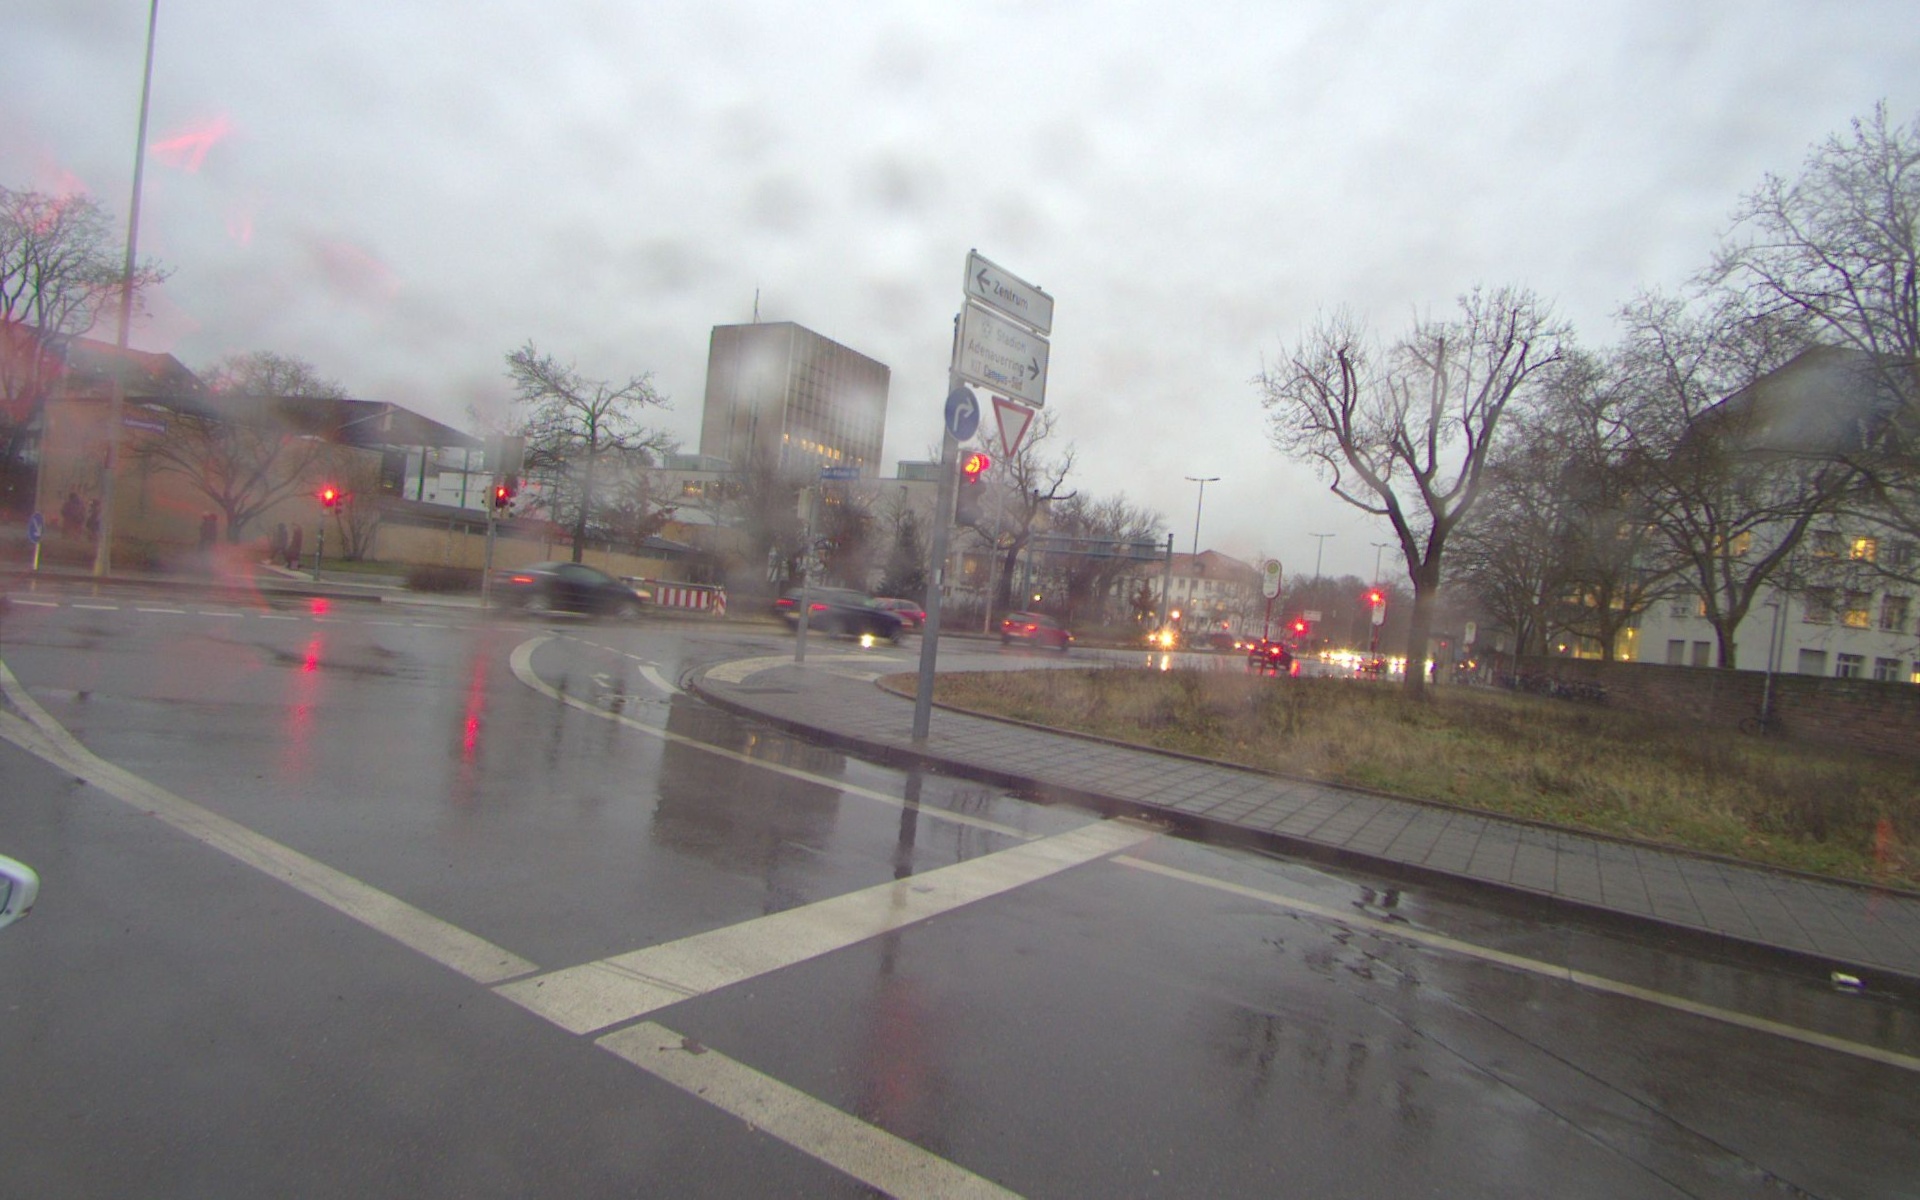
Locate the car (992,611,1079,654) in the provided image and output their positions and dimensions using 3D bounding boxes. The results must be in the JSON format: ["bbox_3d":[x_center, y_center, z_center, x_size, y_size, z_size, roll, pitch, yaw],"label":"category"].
[{"bbox_3d":[3.356,1.443,43.863,1.812,1.602,4.124,6,0,35],"label":"car"}]

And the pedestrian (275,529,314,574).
[{"bbox_3d":[-24.995,-1.824,37.787,0.921,1.553,1.029,5,2,-45],"label":"pedestrian"}]

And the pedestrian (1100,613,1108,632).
[{"bbox_3d":[13.348,2.122,93.406,0.411,1.725,0.430,8,3,44],"label":"pedestrian"}]

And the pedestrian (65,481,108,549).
[{"bbox_3d":[-29.260,-2.845,33.682,0.874,2.141,0.890,8,2,44],"label":"pedestrian"}]

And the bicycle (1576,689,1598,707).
[{"bbox_3d":[30.548,4.767,49.001,0.387,0.795,1.533,7,-2,14],"label":"bicycle"}]

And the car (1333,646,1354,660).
[{"bbox_3d":[53.427,7.389,140.176,1.966,1.783,3.992,7,1,29],"label":"car"}]

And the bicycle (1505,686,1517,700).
[{"bbox_3d":[34.849,5.864,63.627,0.387,0.795,1.532,7,-2,20],"label":"bicycle"}]

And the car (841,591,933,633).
[{"bbox_3d":[-3.159,0.575,44.321,1.781,1.496,4.418,6,0,30],"label":"car"}]

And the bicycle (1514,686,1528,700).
[{"bbox_3d":[33.828,5.612,60.665,0.387,0.795,1.532,7,-2,20],"label":"bicycle"}]

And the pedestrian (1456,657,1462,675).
[{"bbox_3d":[50.266,6.639,101.414,0.313,1.816,0.461,7,2,32],"label":"pedestrian"}]

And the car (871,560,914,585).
[{"bbox_3d":[-7.117,-2.915,106.437,2.014,2.102,4.892,6,0,30],"label":"car"}]

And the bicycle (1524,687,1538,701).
[{"bbox_3d":[32.840,5.402,57.867,0.387,0.795,1.532,7,-2,19],"label":"bicycle"}]

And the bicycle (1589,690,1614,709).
[{"bbox_3d":[30.274,4.671,47.477,0.352,0.795,1.415,7,-2,8],"label":"bicycle"}]

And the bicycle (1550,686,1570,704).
[{"bbox_3d":[31.355,4.978,52.557,0.387,0.868,1.532,7,-2,15],"label":"bicycle"}]

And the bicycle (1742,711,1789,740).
[{"bbox_3d":[28.201,4.398,35.227,0.387,0.834,1.386,7,-2,-4],"label":"bicycle"}]

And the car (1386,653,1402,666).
[{"bbox_3d":[70.262,9.637,162.714,1.965,1.783,3.993,7,1,27],"label":"car"}]

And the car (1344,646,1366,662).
[{"bbox_3d":[51.644,7.066,131.493,1.966,1.783,3.992,7,1,29],"label":"car"}]

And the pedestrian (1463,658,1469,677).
[{"bbox_3d":[50.628,6.746,100.621,0.313,1.816,0.461,7,2,32],"label":"pedestrian"}]

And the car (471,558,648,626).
[{"bbox_3d":[-10.012,-0.175,25.358,1.677,1.318,3.750,6,0,39],"label":"car"}]

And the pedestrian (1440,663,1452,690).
[{"bbox_3d":[30.151,4.731,62.419,0.462,1.623,0.486,7,-1,25],"label":"pedestrian"}]

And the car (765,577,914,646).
[{"bbox_3d":[-3.395,0.362,28.978,1.814,1.602,4.121,6,0,37],"label":"car"}]

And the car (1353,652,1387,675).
[{"bbox_3d":[34.306,5.289,84.078,1.811,1.710,4.311,6,0,32],"label":"car"}]

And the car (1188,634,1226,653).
[{"bbox_3d":[30.231,5.363,122.974,3.936,1.784,1.994,7,1,34],"label":"car"}]

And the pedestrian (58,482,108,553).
[{"bbox_3d":[-28.561,-2.681,32.770,0.871,2.141,0.893,7,2,32],"label":"pedestrian"}]

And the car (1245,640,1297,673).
[{"bbox_3d":[19.247,3.508,62.168,1.811,1.710,4.313,6,-1,33],"label":"car"}]

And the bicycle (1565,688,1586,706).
[{"bbox_3d":[31.037,4.874,50.746,0.343,0.848,1.493,7,-2,13],"label":"bicycle"}]

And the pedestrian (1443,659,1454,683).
[{"bbox_3d":[42.098,6.131,86.720,0.557,2.040,0.595,8,2,33],"label":"pedestrian"}]

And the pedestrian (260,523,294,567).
[{"bbox_3d":[-25.986,-2.089,38.277,0.889,1.553,0.875,5,2,-41],"label":"pedestrian"}]

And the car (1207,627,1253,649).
[{"bbox_3d":[30.064,4.241,112.097,2.020,1.903,5.309,6,0,-23],"label":"car"}]

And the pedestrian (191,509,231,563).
[{"bbox_3d":[-27.263,-2.331,36.603,0.992,1.823,0.908,5,2,-41],"label":"pedestrian"}]

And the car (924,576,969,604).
[{"bbox_3d":[-1.349,-0.988,103.269,2.014,2.452,5.326,6,0,30],"label":"car"}]

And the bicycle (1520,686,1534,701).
[{"bbox_3d":[33.322,5.485,59.146,0.387,0.795,1.532,7,-2,20],"label":"bicycle"}]

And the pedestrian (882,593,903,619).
[{"bbox_3d":[-4.558,0.381,67.792,0.783,1.624,0.960,8,2,39],"label":"pedestrian"}]

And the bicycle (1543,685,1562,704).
[{"bbox_3d":[31.841,5.073,54.088,0.387,0.927,1.532,7,-2,15],"label":"bicycle"}]

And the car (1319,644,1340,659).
[{"bbox_3d":[49.286,6.858,134.149,1.966,1.783,3.992,7,1,29],"label":"car"}]

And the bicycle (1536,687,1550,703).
[{"bbox_3d":[32.412,5.288,55.954,0.387,0.795,1.607,7,-2,22],"label":"bicycle"}]
